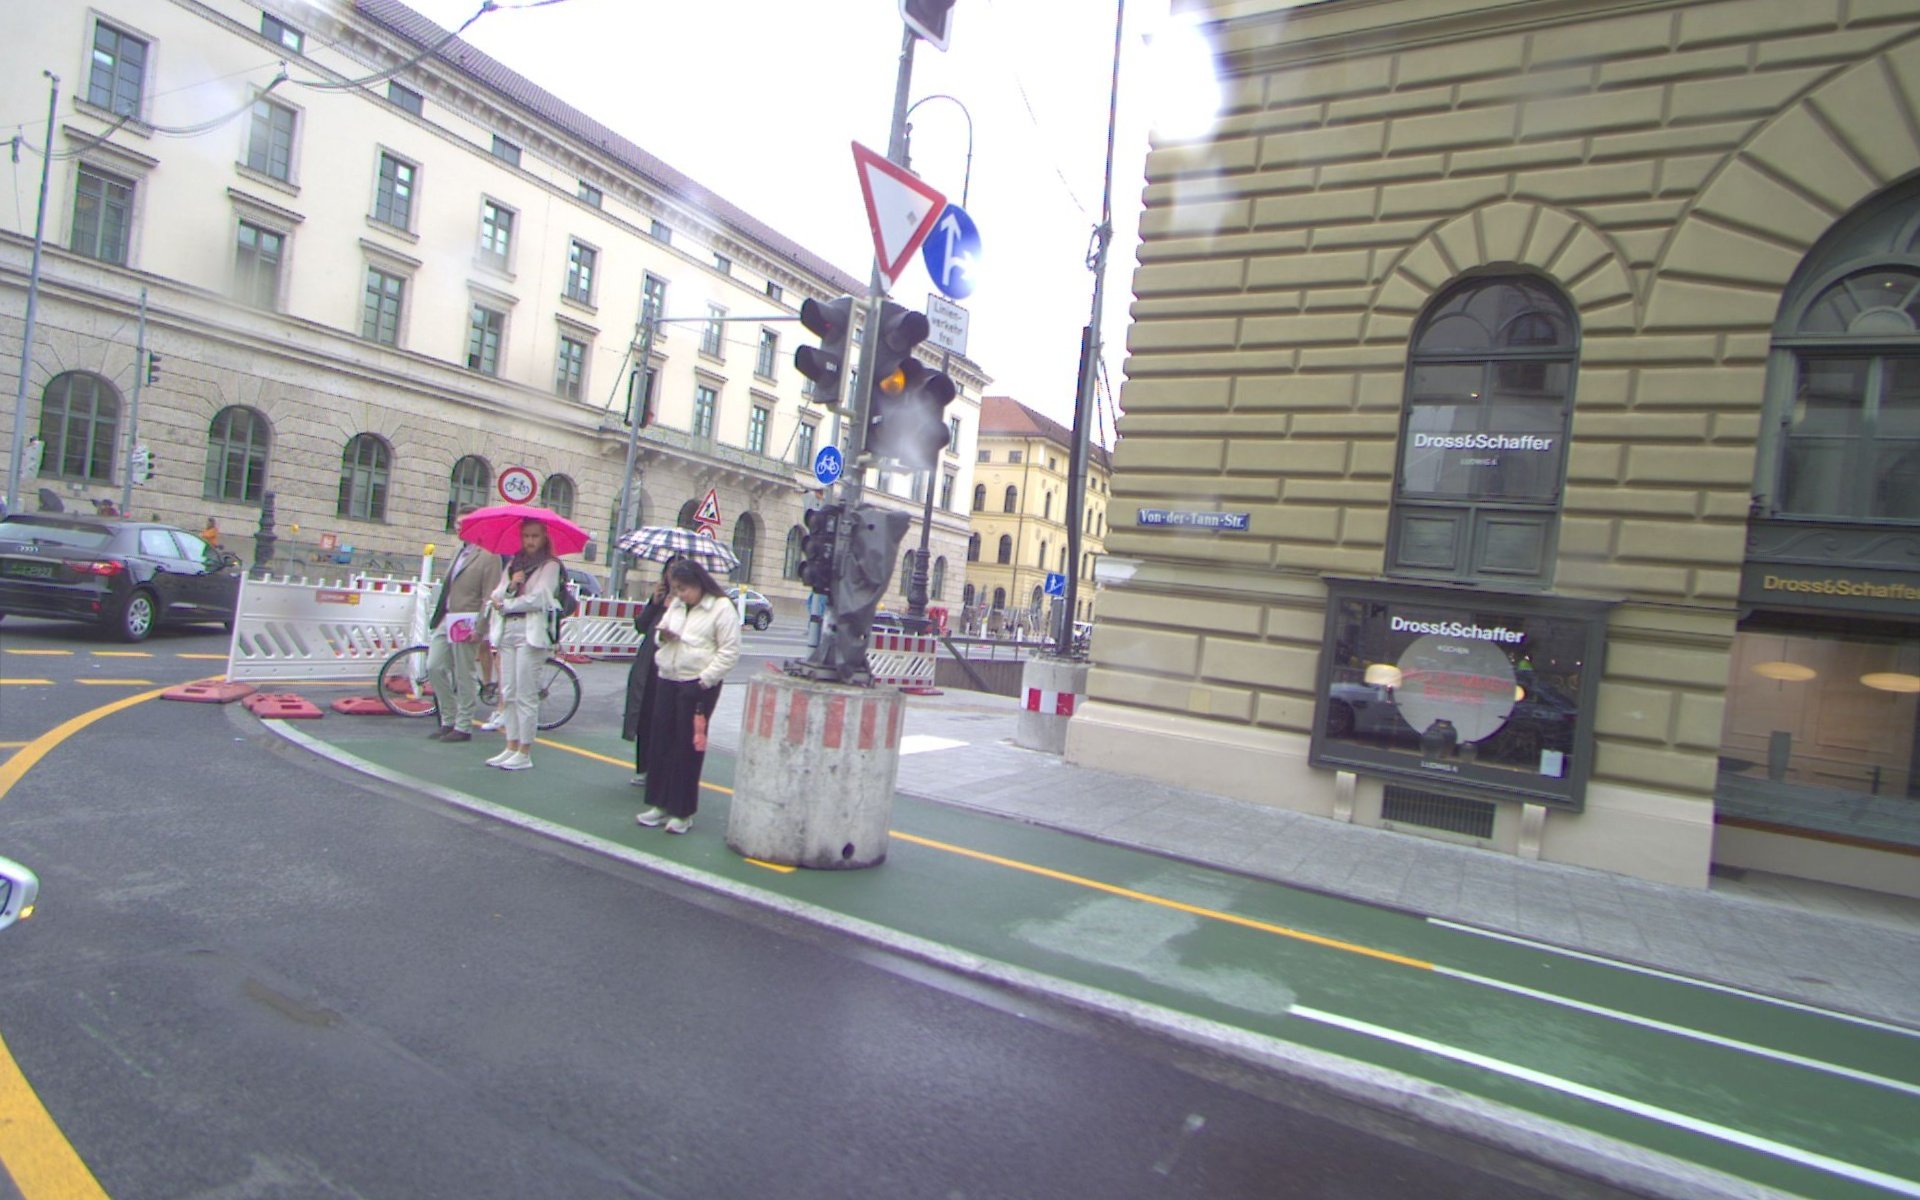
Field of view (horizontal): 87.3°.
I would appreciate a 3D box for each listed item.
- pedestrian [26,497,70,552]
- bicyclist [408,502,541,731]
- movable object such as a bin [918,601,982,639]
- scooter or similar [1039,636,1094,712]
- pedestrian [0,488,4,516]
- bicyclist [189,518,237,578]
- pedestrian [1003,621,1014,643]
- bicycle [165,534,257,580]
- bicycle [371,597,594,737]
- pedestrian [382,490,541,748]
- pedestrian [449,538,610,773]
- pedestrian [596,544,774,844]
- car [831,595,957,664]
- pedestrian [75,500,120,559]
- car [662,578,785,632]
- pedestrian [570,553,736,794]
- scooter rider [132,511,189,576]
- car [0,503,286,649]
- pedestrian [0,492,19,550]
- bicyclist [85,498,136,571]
[{"bbox_3d":[-27.854,-2.305,30.739,0.806,1.545,0.666,7,-1,32],"label":"pedestrian"},{"bbox_3d":[-4.280,0.151,8.924,0.788,1.876,0.565,7,0,-19],"label":"bicyclist"},{"bbox_3d":[-0.655,1.444,70.752,1.490,2.037,5.969,7,-2,30],"label":"movable object such as a bin"},{"bbox_3d":[1.873,1.311,17.579,0.345,1.264,1.138,7,-1,32],"label":"scooter or similar"},{"bbox_3d":[-27.746,-2.400,28.574,0.534,1.691,0.616,7,-1,37],"label":"pedestrian"},{"bbox_3d":[-22.014,-1.533,29.662,0.782,1.634,0.745,7,-1,32],"label":"bicyclist"},{"bbox_3d":[3.965,2.591,82.272,0.544,1.696,0.617,7,-1,26],"label":"pedestrian"},{"bbox_3d":[-22.055,-1.250,29.659,0.782,1.052,1.961,7,-2,32],"label":"bicycle"},{"bbox_3d":[-4.201,0.596,8.973,1.633,1.023,0.584,8,-1,-19],"label":"bicycle"},{"bbox_3d":[-3.919,0.153,7.933,0.631,1.907,0.703,7,-1,34],"label":"pedestrian"},{"bbox_3d":[-3.124,0.405,7.333,0.574,1.586,0.704,7,-1,32],"label":"pedestrian"},{"bbox_3d":[-1.638,0.541,6.018,0.662,1.639,0.532,7,-1,32],"label":"pedestrian"},{"bbox_3d":[-1.936,0.948,30.651,1.745,1.635,3.996,7,-2,30],"label":"car"},{"bbox_3d":[-26.921,-2.202,31.402,0.806,1.714,0.716,7,-1,31],"label":"pedestrian"},{"bbox_3d":[-8.686,0.228,37.395,1.761,1.585,4.570,4,-2,29],"label":"car"},{"bbox_3d":[-2.209,0.521,7.265,0.670,1.586,0.704,7,-1,32],"label":"pedestrian"},{"bbox_3d":[-21.970,-1.546,27.652,0.582,1.641,0.934,7,-1,31],"label":"scooter rider"},{"bbox_3d":[-10.433,-0.301,12.621,1.840,1.404,3.991,8,-1,-13],"label":"car"},{"bbox_3d":[-27.154,-2.270,28.274,0.657,1.575,0.817,7,-1,37],"label":"pedestrian"},{"bbox_3d":[-23.352,-1.788,27.648,0.650,1.864,0.745,7,-1,32],"label":"bicyclist"}]
